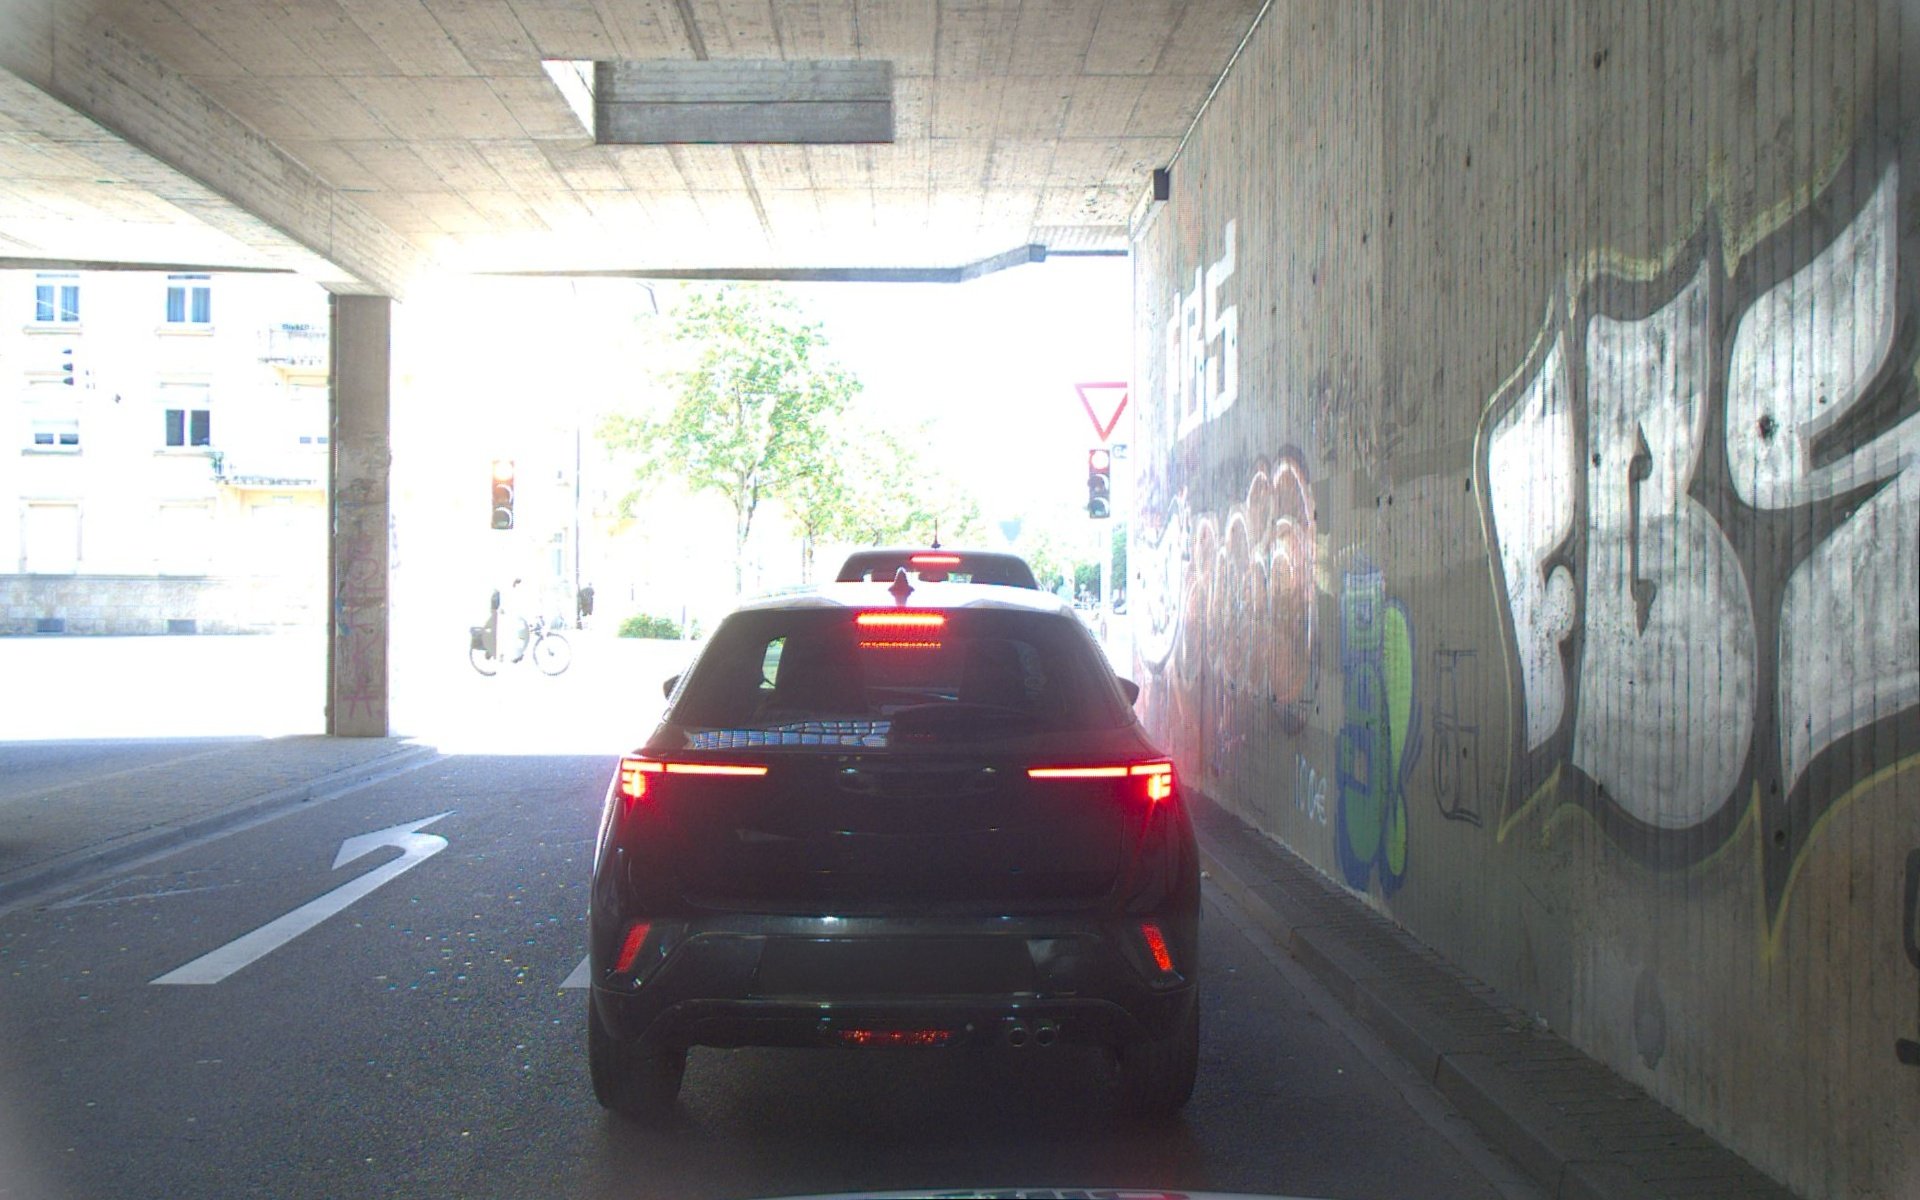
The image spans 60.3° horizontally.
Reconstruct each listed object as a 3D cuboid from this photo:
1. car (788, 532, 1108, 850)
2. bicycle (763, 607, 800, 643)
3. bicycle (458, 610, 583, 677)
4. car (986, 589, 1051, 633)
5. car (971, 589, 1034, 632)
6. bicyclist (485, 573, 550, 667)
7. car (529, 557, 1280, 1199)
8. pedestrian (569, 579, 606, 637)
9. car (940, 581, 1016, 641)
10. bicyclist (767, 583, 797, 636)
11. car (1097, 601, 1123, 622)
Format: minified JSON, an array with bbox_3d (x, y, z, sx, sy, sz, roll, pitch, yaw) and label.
[{"bbox_3d":[-0.100,0.531,11.885,1.906,1.892,3.963,0,0,-1],"label":"car"},{"bbox_3d":[-5.552,0.764,51.424,0.716,1.086,1.690,1,0,9],"label":"bicycle"},{"bbox_3d":[-7.133,0.702,26.915,1.818,1.026,0.745,-1,0,-3],"label":"bicycle"},{"bbox_3d":[2.476,0.471,69.038,2.173,1.749,4.463,0,-1,9],"label":"car"},{"bbox_3d":[1.629,0.430,62.217,1.926,1.523,3.899,0,-1,8],"label":"car"},{"bbox_3d":[-7.194,0.318,26.918,0.852,1.477,0.745,-1,0,-3],"label":"bicyclist"},{"bbox_3d":[-0.160,0.671,6.061,1.844,1.565,3.963,0,0,-1],"label":"car"},{"bbox_3d":[-13.178,0.273,58.563,0.971,2.049,1.089,0,0,7],"label":"pedestrian"},{"bbox_3d":[0.500,0.329,44.179,1.927,1.523,3.896,0,-1,1],"label":"car"},{"bbox_3d":[-5.533,0.299,51.458,0.713,1.609,0.815,1,-1,9],"label":"bicyclist"},{"bbox_3d":[12.458,0.949,137.282,1.951,1.691,4.003,1,0,8],"label":"car"}]
